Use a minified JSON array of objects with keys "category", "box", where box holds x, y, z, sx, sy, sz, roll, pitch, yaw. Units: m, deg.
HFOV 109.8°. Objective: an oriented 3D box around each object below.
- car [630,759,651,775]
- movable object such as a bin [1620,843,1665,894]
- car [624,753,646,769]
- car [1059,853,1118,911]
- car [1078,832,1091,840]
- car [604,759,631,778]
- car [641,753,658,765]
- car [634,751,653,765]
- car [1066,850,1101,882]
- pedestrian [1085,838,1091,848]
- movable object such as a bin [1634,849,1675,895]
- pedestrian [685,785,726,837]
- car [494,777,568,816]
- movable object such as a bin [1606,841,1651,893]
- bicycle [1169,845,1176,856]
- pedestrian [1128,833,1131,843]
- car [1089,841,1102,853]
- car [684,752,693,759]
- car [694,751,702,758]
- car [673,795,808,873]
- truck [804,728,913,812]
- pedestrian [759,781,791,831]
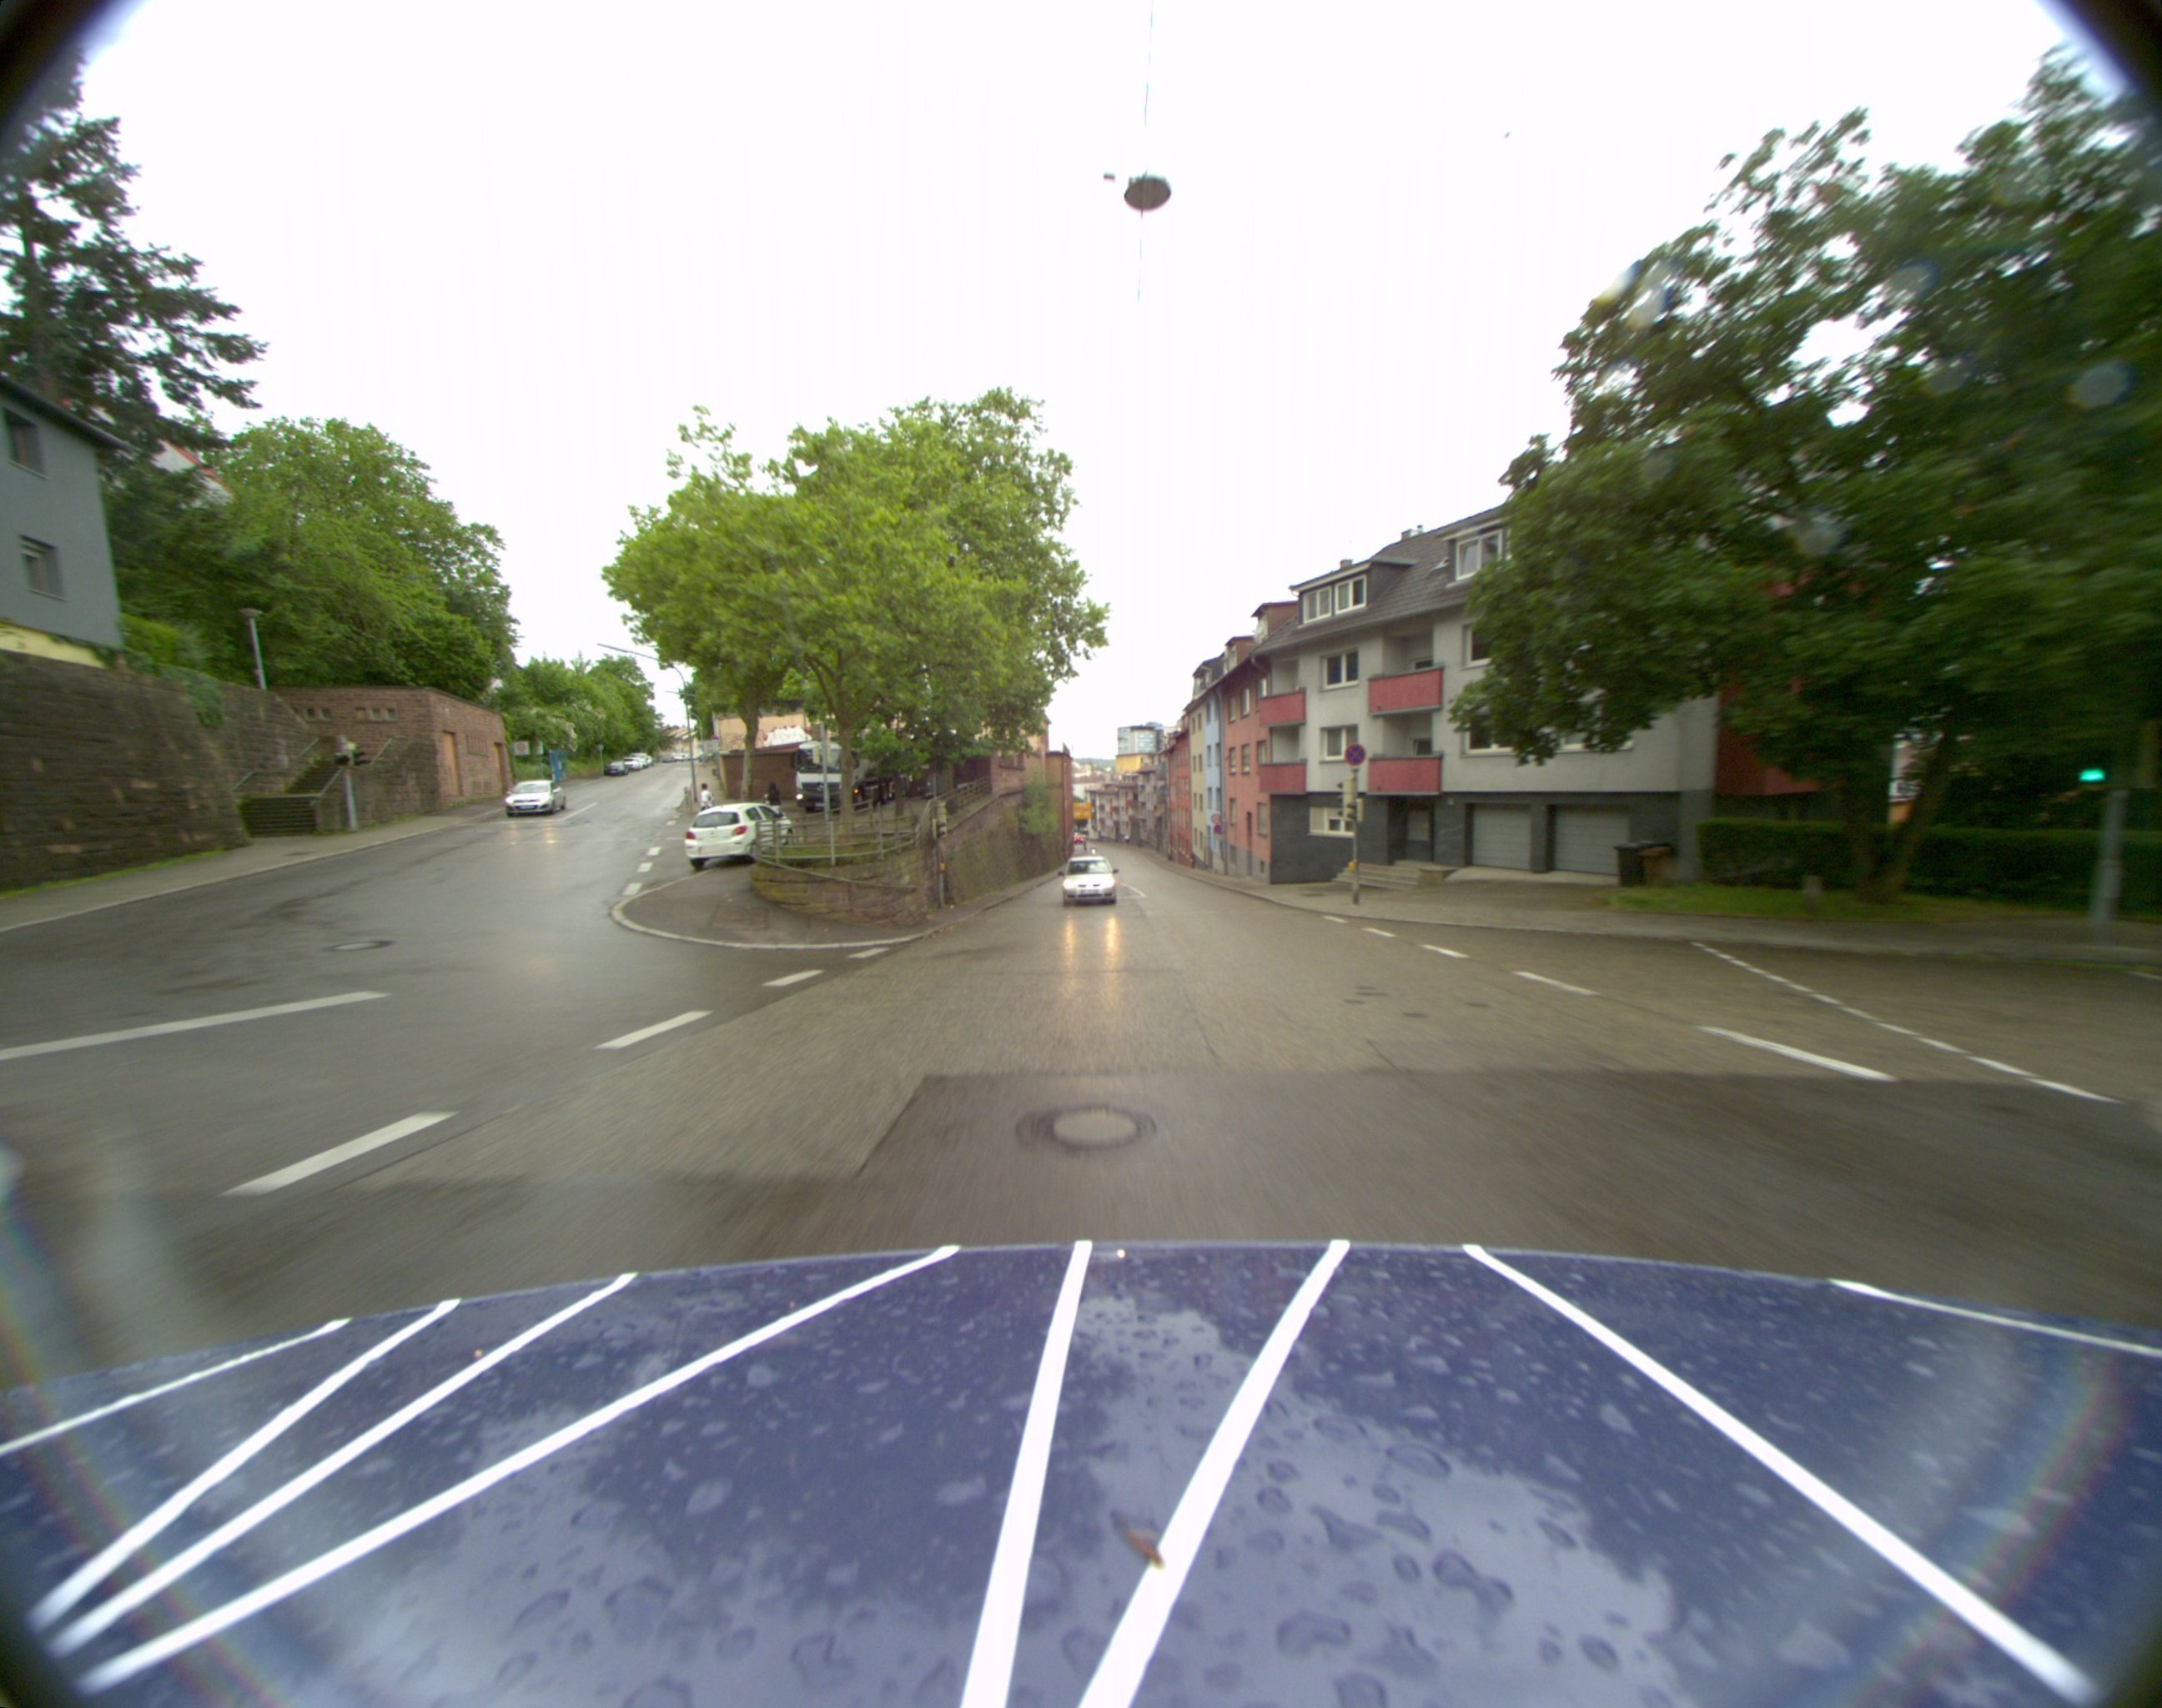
[{"category":"car","box":[-55.049,-10.917,94.995,1.736,1.633,3.986,-6,11,-24]},{"category":"movable object such as a bin","box":[13.750,0.340,18.614,0.562,1.193,0.687,-4,3,-24]},{"category":"car","box":[-52.933,-11.114,90.279,1.736,1.633,3.986,-6,11,-24]},{"category":"car","box":[0.291,0.858,25.197,1.720,1.528,3.999,-3,2,2]},{"category":"car","box":[0.611,-3.770,156.526,2.000,1.470,3.995,0,2,-10]},{"category":"car","box":[-47.075,-8.675,77.212,1.736,1.633,3.986,-6,11,-24]},{"category":"car","box":[-64.644,-14.274,113.951,1.736,1.633,3.986,-6,11,-24]},{"category":"car","box":[-57.790,-12.663,100.443,1.736,1.633,3.986,-6,11,-24]},{"category":"car","box":[0.188,0.646,43.403,1.719,1.528,3.999,-3,2,3]},{"category":"pedestrian","box":[1.072,-1.808,121.438,0.871,1.532,1.087,-3,0,-1]},{"category":"movable object such as a bin","box":[13.394,0.416,17.743,0.630,1.010,0.499,-4,3,-23]},{"category":"pedestrian","box":[-12.229,-1.388,24.771,0.873,1.668,0.779,0,3,5]},{"category":"car","box":[-24.572,-2.644,34.090,1.827,1.512,3.987,-4,9,-24]},{"category":"movable object such as a bin","box":[13.218,0.303,18.355,0.562,1.193,0.687,-4,3,-24]},{"category":"bicycle","box":[10.179,-0.366,84.355,0.572,1.111,2.039,-4,2,3]},{"category":"pedestrian","box":[8.721,-2.860,135.677,0.387,1.770,0.499,-4,3,-7]},{"category":"car","box":[1.971,-0.931,100.176,1.637,1.521,3.999,-3,2,2]},{"category":"car","box":[-100.027,-25.047,193.723,1.736,1.633,3.986,-6,11,-24]},{"category":"car","box":[-110.424,-28.684,219.219,1.736,1.633,3.986,-6,11,-24]},{"category":"car","box":[-9.037,-0.660,20.631,1.635,1.486,4.340,-3,9,-1]},{"category":"truck","box":[-10.415,-4.365,37.058,2.755,3.296,11.204,0,10,-4]},{"category":"pedestrian","box":[-10.527,-1.632,26.112,0.780,1.668,0.871,-3,4,-38]}]
